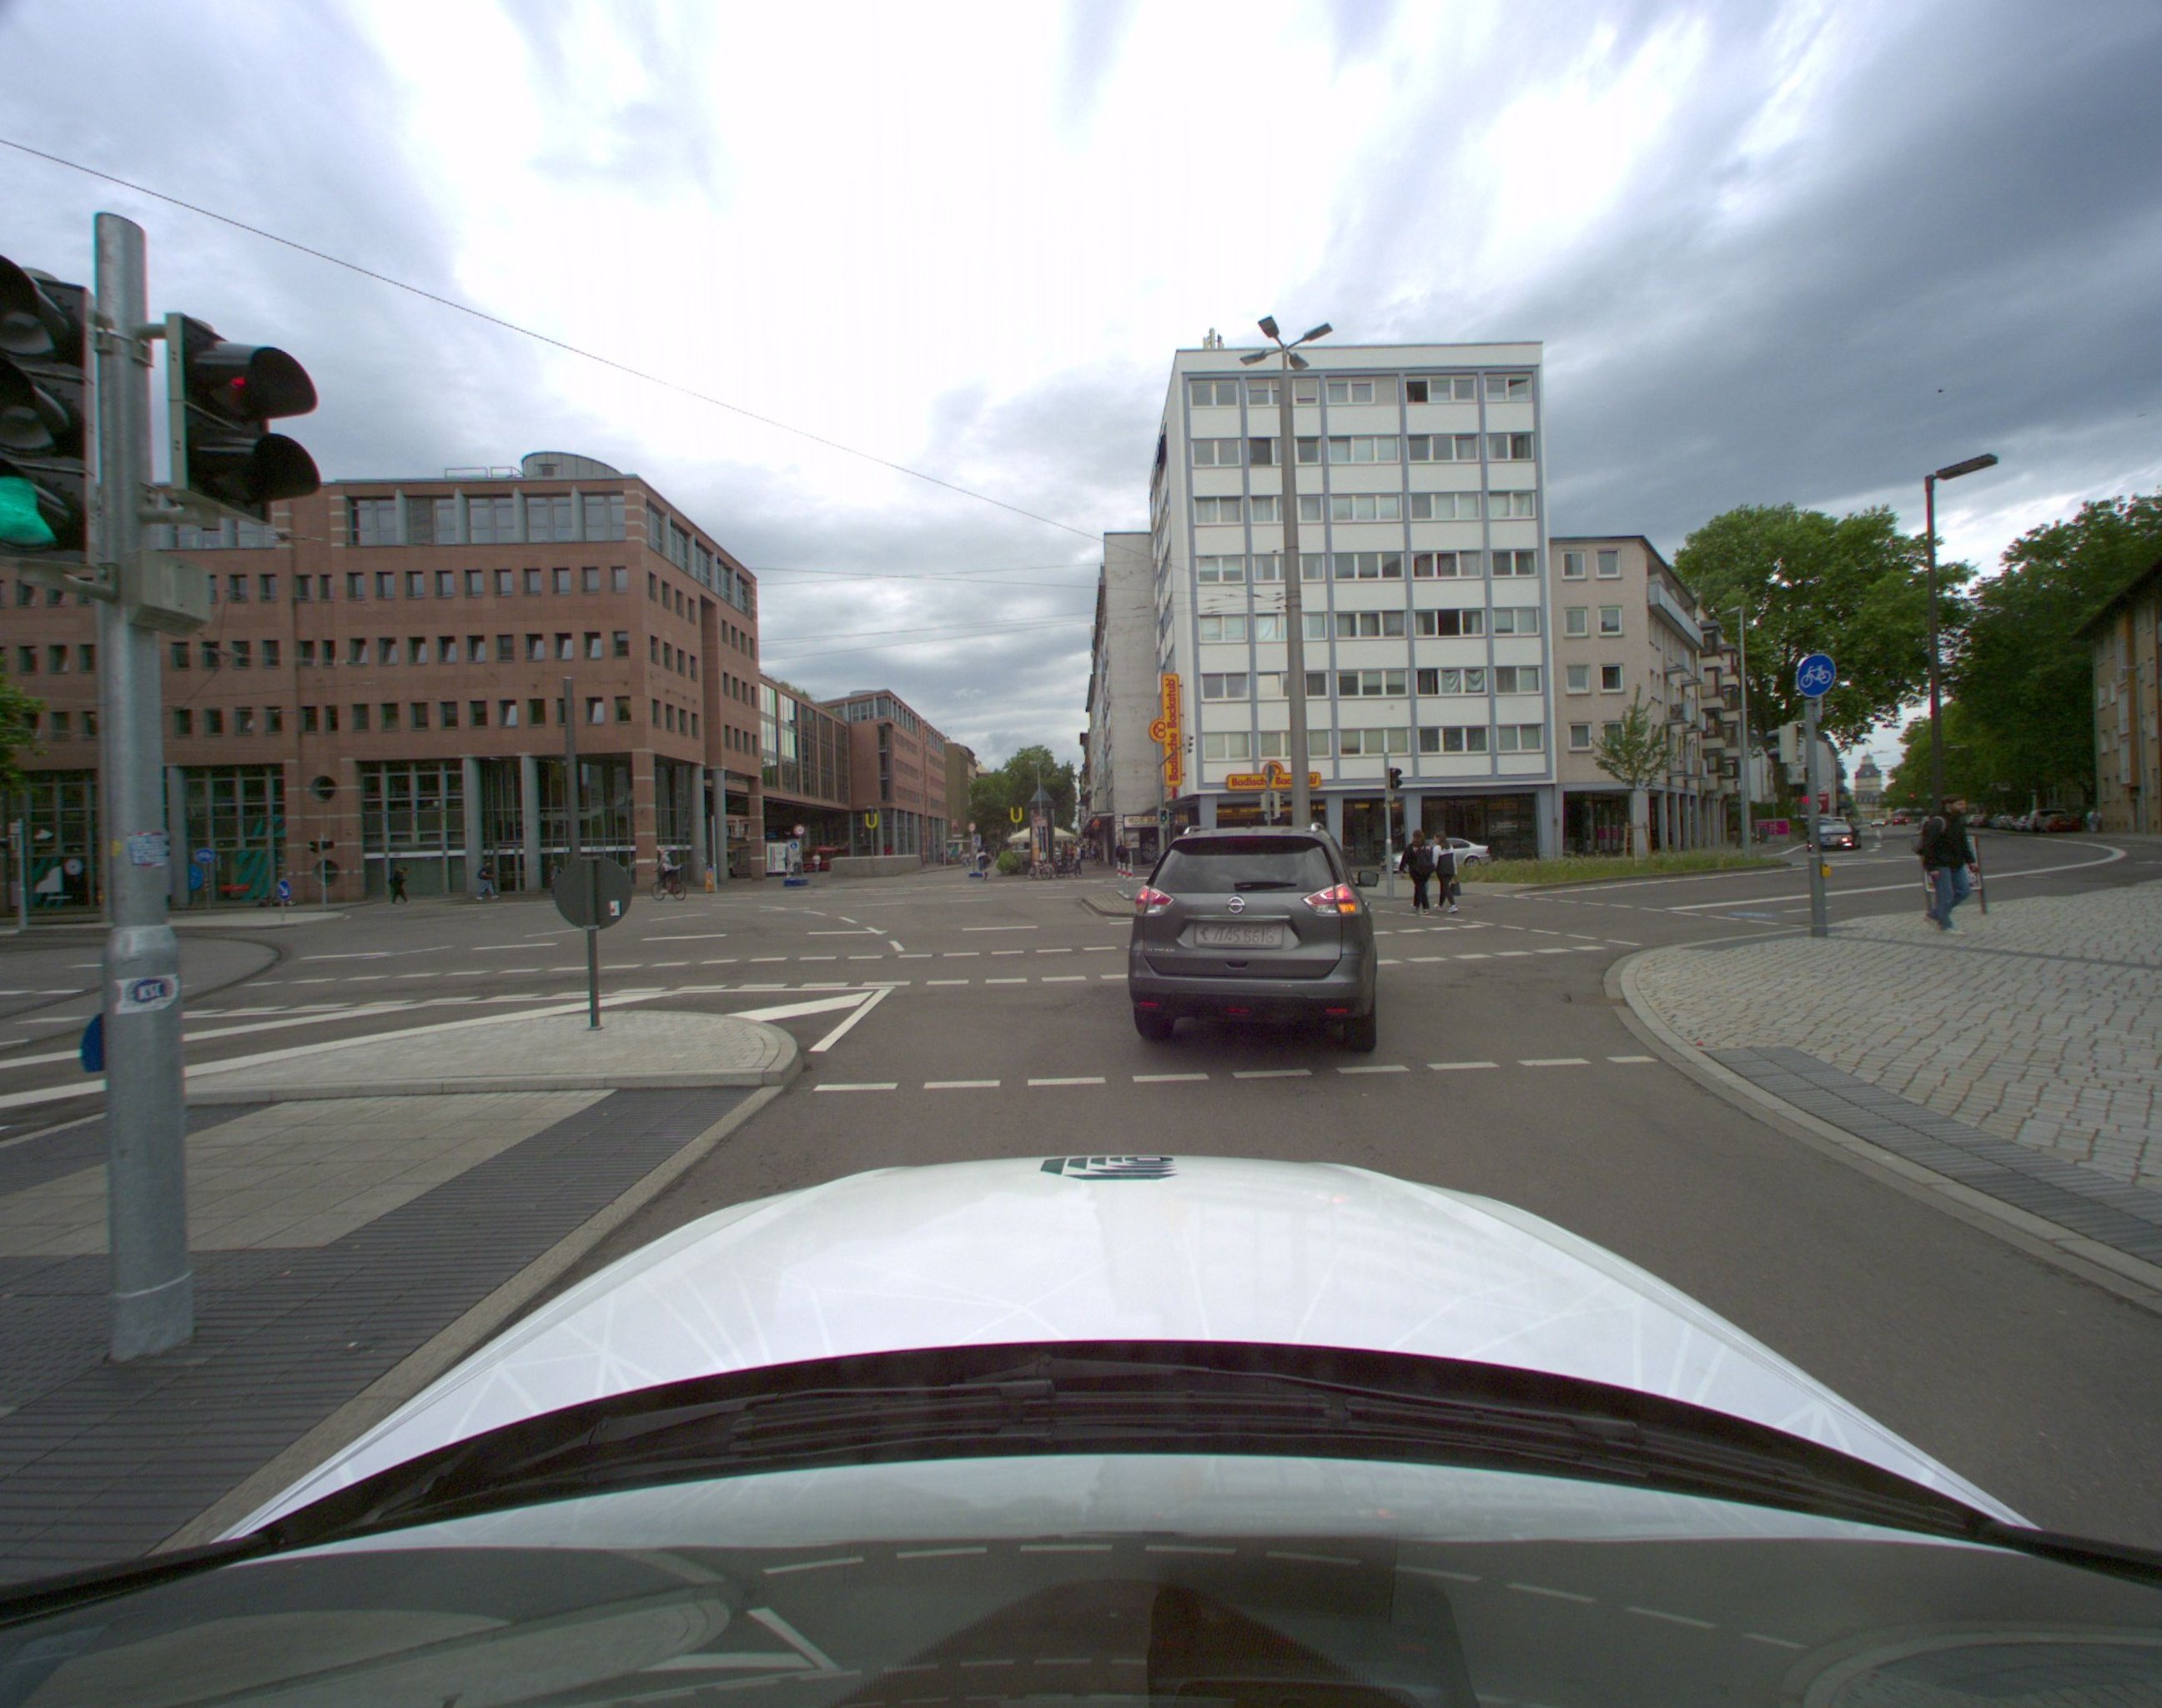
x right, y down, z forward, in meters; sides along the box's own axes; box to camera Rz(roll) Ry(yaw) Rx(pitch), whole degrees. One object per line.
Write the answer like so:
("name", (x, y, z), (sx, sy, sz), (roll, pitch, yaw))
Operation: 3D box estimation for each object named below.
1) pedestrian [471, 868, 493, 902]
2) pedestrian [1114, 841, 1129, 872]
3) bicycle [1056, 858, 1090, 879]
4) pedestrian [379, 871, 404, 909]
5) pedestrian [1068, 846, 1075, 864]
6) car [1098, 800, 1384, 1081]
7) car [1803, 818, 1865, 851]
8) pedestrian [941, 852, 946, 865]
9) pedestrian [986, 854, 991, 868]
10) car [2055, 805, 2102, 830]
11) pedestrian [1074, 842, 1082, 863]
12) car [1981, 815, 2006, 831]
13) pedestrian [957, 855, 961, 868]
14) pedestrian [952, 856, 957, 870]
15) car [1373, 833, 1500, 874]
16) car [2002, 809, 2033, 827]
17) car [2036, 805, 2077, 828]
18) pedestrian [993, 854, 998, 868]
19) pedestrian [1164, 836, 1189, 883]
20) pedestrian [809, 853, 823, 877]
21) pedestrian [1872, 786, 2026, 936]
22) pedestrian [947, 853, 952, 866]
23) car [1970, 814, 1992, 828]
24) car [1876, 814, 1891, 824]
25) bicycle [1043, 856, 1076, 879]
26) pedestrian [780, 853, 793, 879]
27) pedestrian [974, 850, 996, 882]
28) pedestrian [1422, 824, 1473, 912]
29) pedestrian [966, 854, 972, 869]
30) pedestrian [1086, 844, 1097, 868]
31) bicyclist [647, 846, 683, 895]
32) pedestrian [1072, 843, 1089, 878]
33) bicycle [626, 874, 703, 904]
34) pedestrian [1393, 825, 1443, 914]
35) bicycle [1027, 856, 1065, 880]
("pedestrian", (-28.148, 1.464, 38.252), (0.746, 1.560, 0.569), (0, -2, -27))
("pedestrian", (2.290, 0.151, 45.705), (0.705, 1.705, 0.737), (-1, 0, 11))
("bicycle", (-0.414, 0.745, 42.571), (1.687, 1.065, 0.438), (-1, 0, 5))
("pedestrian", (-30.927, 1.619, 36.533), (0.746, 1.688, 0.569), (0, -2, -27))
("pedestrian", (-0.921, 0.093, 79.604), (0.609, 1.705, 0.619), (-1, 0, 0))
("car", (1.791, 0.532, 7.599), (1.847, 1.774, 4.590), (-1, 0, 20))
("car", (38.486, -1.005, 41.583), (4.591, 1.481, 1.728), (-3, 0, -40))
("pedestrian", (-19.187, 0.638, 113.751), (0.600, 1.714, 0.654), (-1, 0, -8))
("pedestrian", (-11.609, 0.875, 102.424), (0.600, 1.714, 0.654), (-1, 0, -8))
("car", (73.009, -2.690, 59.664), (4.007, 1.774, 1.846), (-3, 2, -44))
("pedestrian", (-0.234, -0.108, 65.159), (0.641, 1.705, 0.559), (-1, 0, 0))
("car", (108.602, -3.724, 96.964), (4.007, 1.774, 1.846), (-3, 2, -44))
("pedestrian", (-16.660, 1.066, 111.282), (0.600, 1.714, 0.654), (-1, 0, -8))
("pedestrian", (-16.048, 1.135, 103.039), (0.600, 1.714, 0.654), (-1, 0, -8))
("car", (14.807, -0.019, 34.067), (4.542, 1.481, 1.746), (-3, 0, -4))
("car", (96.642, -3.740, 84.068), (4.007, 1.774, 1.846), (-3, 2, -44))
("car", (78.329, -3.022, 65.435), (4.007, 1.774, 1.846), (-3, 2, -44))
("pedestrian", (-10.767, 0.897, 102.595), (0.600, 1.714, 0.654), (-1, 0, -8))
("pedestrian", (3.818, 0.229, 32.628), (0.712, 1.832, 1.014), (-1, 0, -8))
("pedestrian", (-20.333, 0.861, 62.437), (0.694, 1.842, 0.738), (-1, 0, 19))
("pedestrian", (11.601, 0.089, 10.942), (0.798, 1.862, 1.156), (-4, 0, 9))
("pedestrian", (-18.352, 0.773, 113.826), (0.600, 1.714, 0.654), (-1, 0, -8))
("car", (119.740, -4.420, 108.388), (4.007, 1.774, 1.846), (-3, 2, -44))
("car", (150.384, -6.621, 152.541), (4.007, 1.774, 1.846), (-3, 2, -44))
("bicycle", (-1.141, 0.735, 43.164), (1.694, 1.171, 0.436), (-1, 0, -8))
("pedestrian", (-20.947, 0.848, 57.947), (0.699, 1.842, 0.733), (-1, 0, -4))
("pedestrian", (-5.116, 0.630, 43.485), (0.918, 1.705, 0.738), (-1, 0, 19))
("pedestrian", (7.548, 0.287, 16.787), (0.621, 1.761, 0.777), (-1, 0, -8))
("pedestrian", (-11.756, 0.798, 85.184), (0.600, 1.536, 0.654), (-1, 0, -8))
("pedestrian", (0.761, 0.145, 61.618), (0.736, 1.821, 0.661), (-2, 0, -3))
("bicyclist", (-15.671, 0.625, 30.674), (0.866, 1.812, 0.842), (-1, 0, 30))
("pedestrian", (-0.027, 0.331, 42.205), (0.732, 1.745, 0.661), (-1, 0, -9))
("bicycle", (-15.814, 1.332, 30.889), (3.236, 1.045, 0.910), (-2, 0, 29))
("pedestrian", (6.899, 0.312, 16.692), (0.621, 1.761, 0.777), (-1, 0, -8))
("bicycle", (-1.835, 0.727, 42.413), (1.870, 1.171, 0.528), (-1, 0, -15))
